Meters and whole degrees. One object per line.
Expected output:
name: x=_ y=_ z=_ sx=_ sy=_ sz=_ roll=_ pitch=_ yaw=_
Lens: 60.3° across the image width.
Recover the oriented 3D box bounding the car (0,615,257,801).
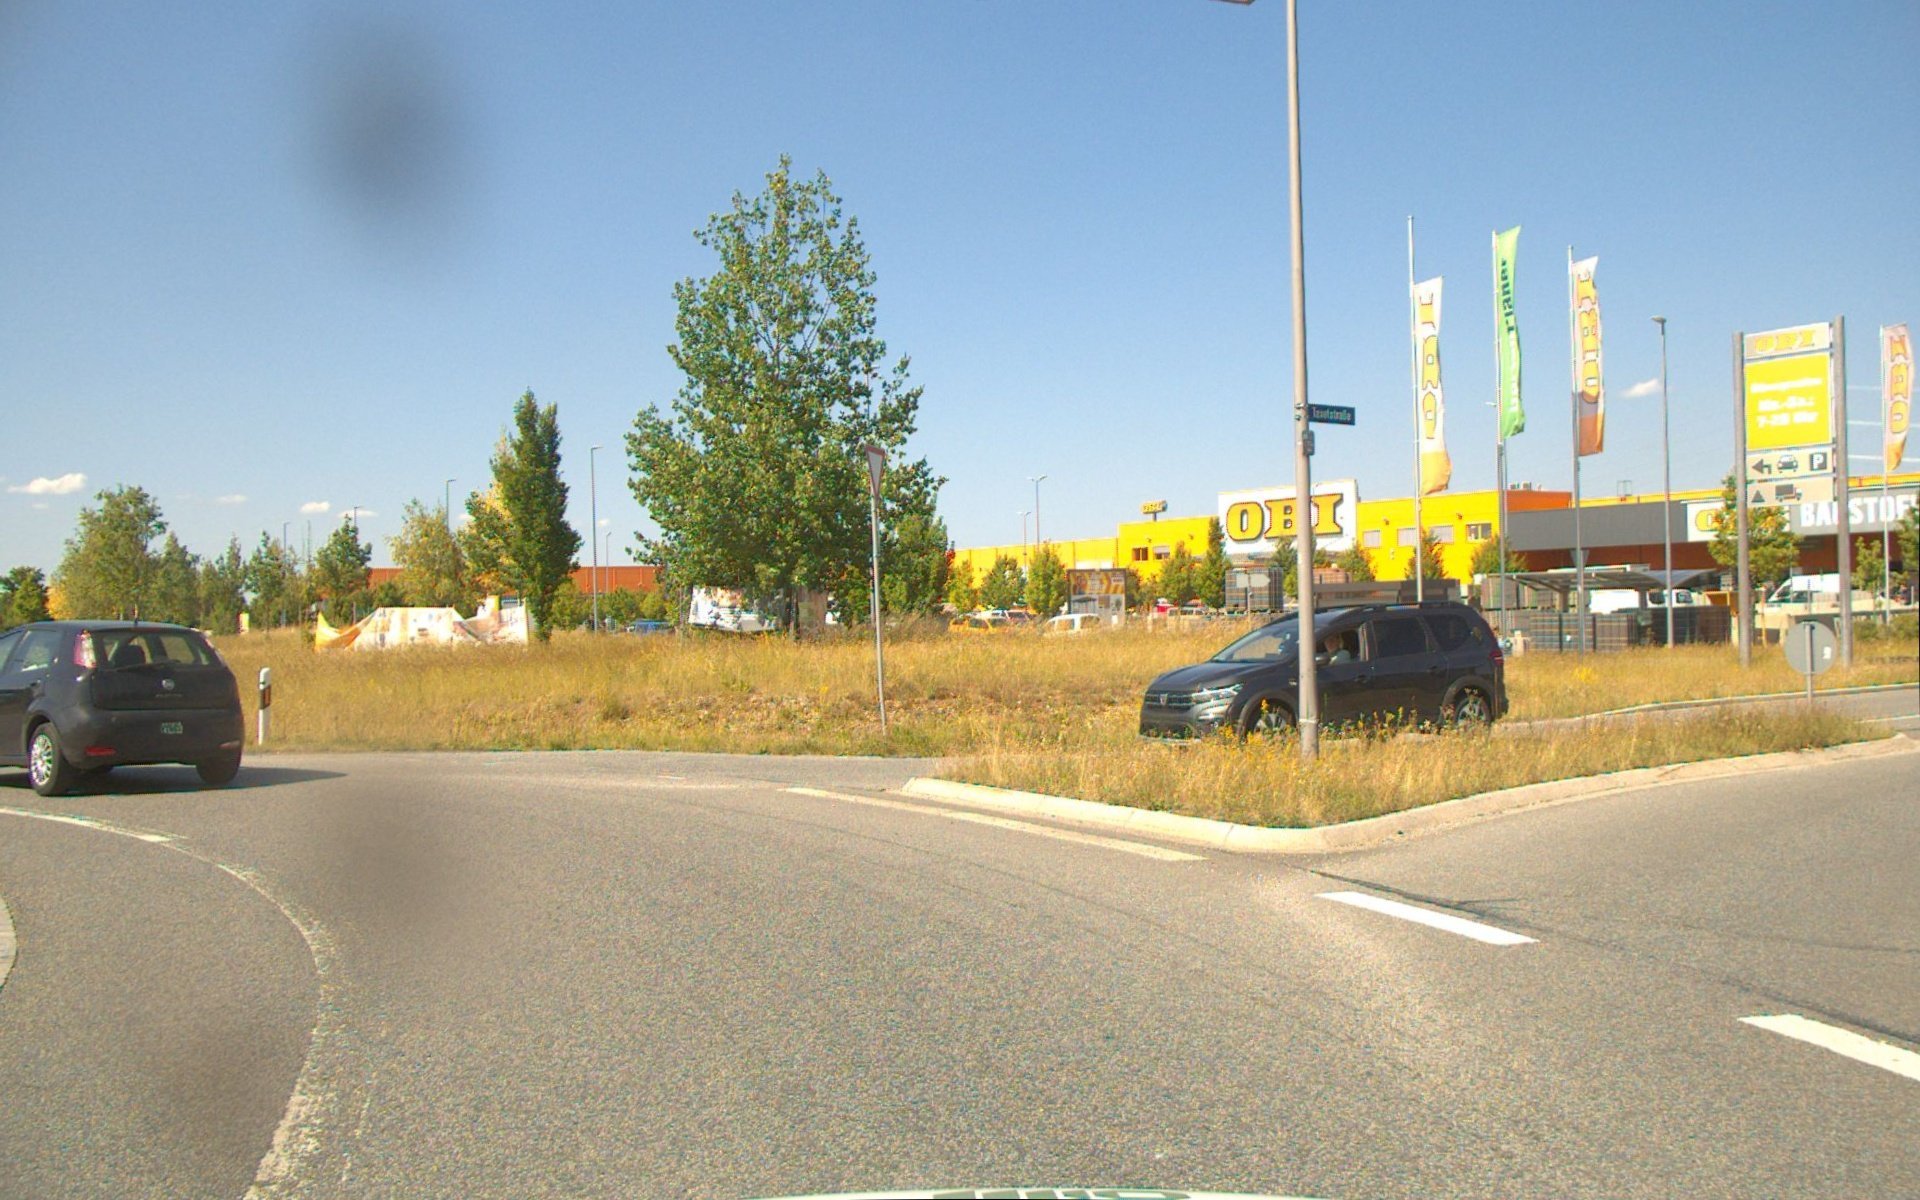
car: x=-8.315 y=0.908 z=15.410 sx=3.829 sy=1.514 sz=1.637 roll=-1 pitch=-1 yaw=38

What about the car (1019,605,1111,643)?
car: x=4.858 y=1.123 z=77.146 sx=3.931 sy=1.646 sz=1.987 roll=-2 pitch=-1 yaw=44

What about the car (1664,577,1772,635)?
car: x=25.184 y=0.235 z=54.923 sx=3.733 sy=1.873 sz=1.678 roll=1 pitch=-2 yaw=-37

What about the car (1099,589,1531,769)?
car: x=4.028 y=0.828 z=18.673 sx=4.559 sy=1.736 sz=1.939 roll=-1 pitch=-2 yaw=-28
